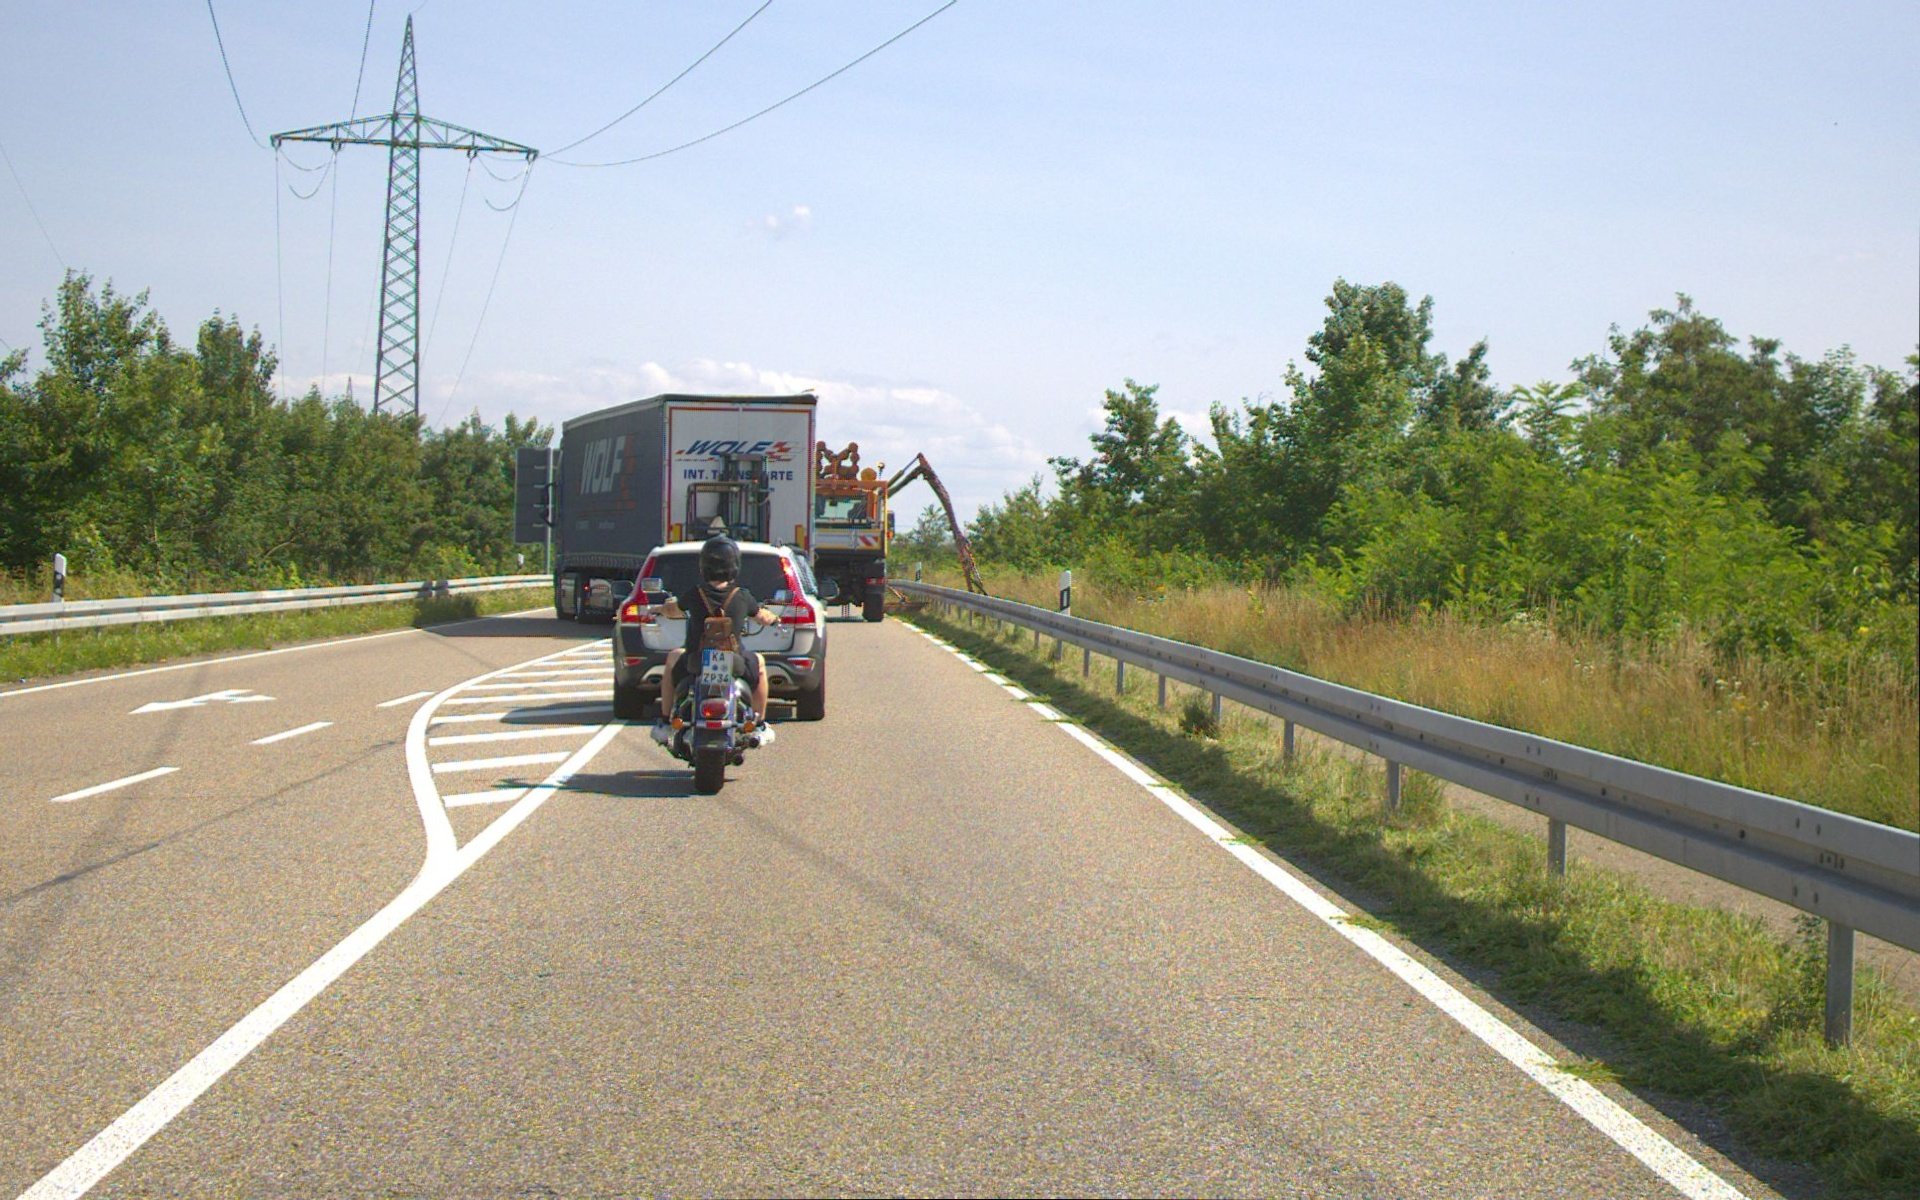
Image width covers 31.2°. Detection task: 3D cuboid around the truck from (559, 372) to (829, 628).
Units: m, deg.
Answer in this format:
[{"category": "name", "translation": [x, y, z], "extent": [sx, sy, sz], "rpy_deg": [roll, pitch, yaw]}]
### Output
[{"category": "truck", "translation": [-5.227, -1.790, 64.012], "extent": [2.967, 4.172, 14.826], "rpy_deg": [1, 1, -12]}]

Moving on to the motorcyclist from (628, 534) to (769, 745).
[{"category": "motorcyclist", "translation": [-1.636, 0.235, 21.531], "extent": [0.837, 1.276, 0.919], "rpy_deg": [1, 1, -4]}]

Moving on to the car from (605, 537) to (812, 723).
[{"category": "car", "translation": [-2.228, 0.221, 30.488], "extent": [1.700, 1.531, 3.500], "rpy_deg": [1, 1, -4]}]

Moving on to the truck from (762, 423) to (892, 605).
[{"category": "truck", "translation": [-2.929, -1.835, 74.192], "extent": [2.613, 3.698, 6.778], "rpy_deg": [1, 1, -3]}]

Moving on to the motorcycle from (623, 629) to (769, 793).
[{"category": "motorcycle", "translation": [-1.643, 0.668, 21.474], "extent": [0.858, 0.912, 2.228], "rpy_deg": [0, 1, -4]}]

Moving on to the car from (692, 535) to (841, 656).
[{"category": "car", "translation": [-2.555, -0.087, 45.487], "extent": [1.854, 1.484, 3.741], "rpy_deg": [1, 1, -3]}]
